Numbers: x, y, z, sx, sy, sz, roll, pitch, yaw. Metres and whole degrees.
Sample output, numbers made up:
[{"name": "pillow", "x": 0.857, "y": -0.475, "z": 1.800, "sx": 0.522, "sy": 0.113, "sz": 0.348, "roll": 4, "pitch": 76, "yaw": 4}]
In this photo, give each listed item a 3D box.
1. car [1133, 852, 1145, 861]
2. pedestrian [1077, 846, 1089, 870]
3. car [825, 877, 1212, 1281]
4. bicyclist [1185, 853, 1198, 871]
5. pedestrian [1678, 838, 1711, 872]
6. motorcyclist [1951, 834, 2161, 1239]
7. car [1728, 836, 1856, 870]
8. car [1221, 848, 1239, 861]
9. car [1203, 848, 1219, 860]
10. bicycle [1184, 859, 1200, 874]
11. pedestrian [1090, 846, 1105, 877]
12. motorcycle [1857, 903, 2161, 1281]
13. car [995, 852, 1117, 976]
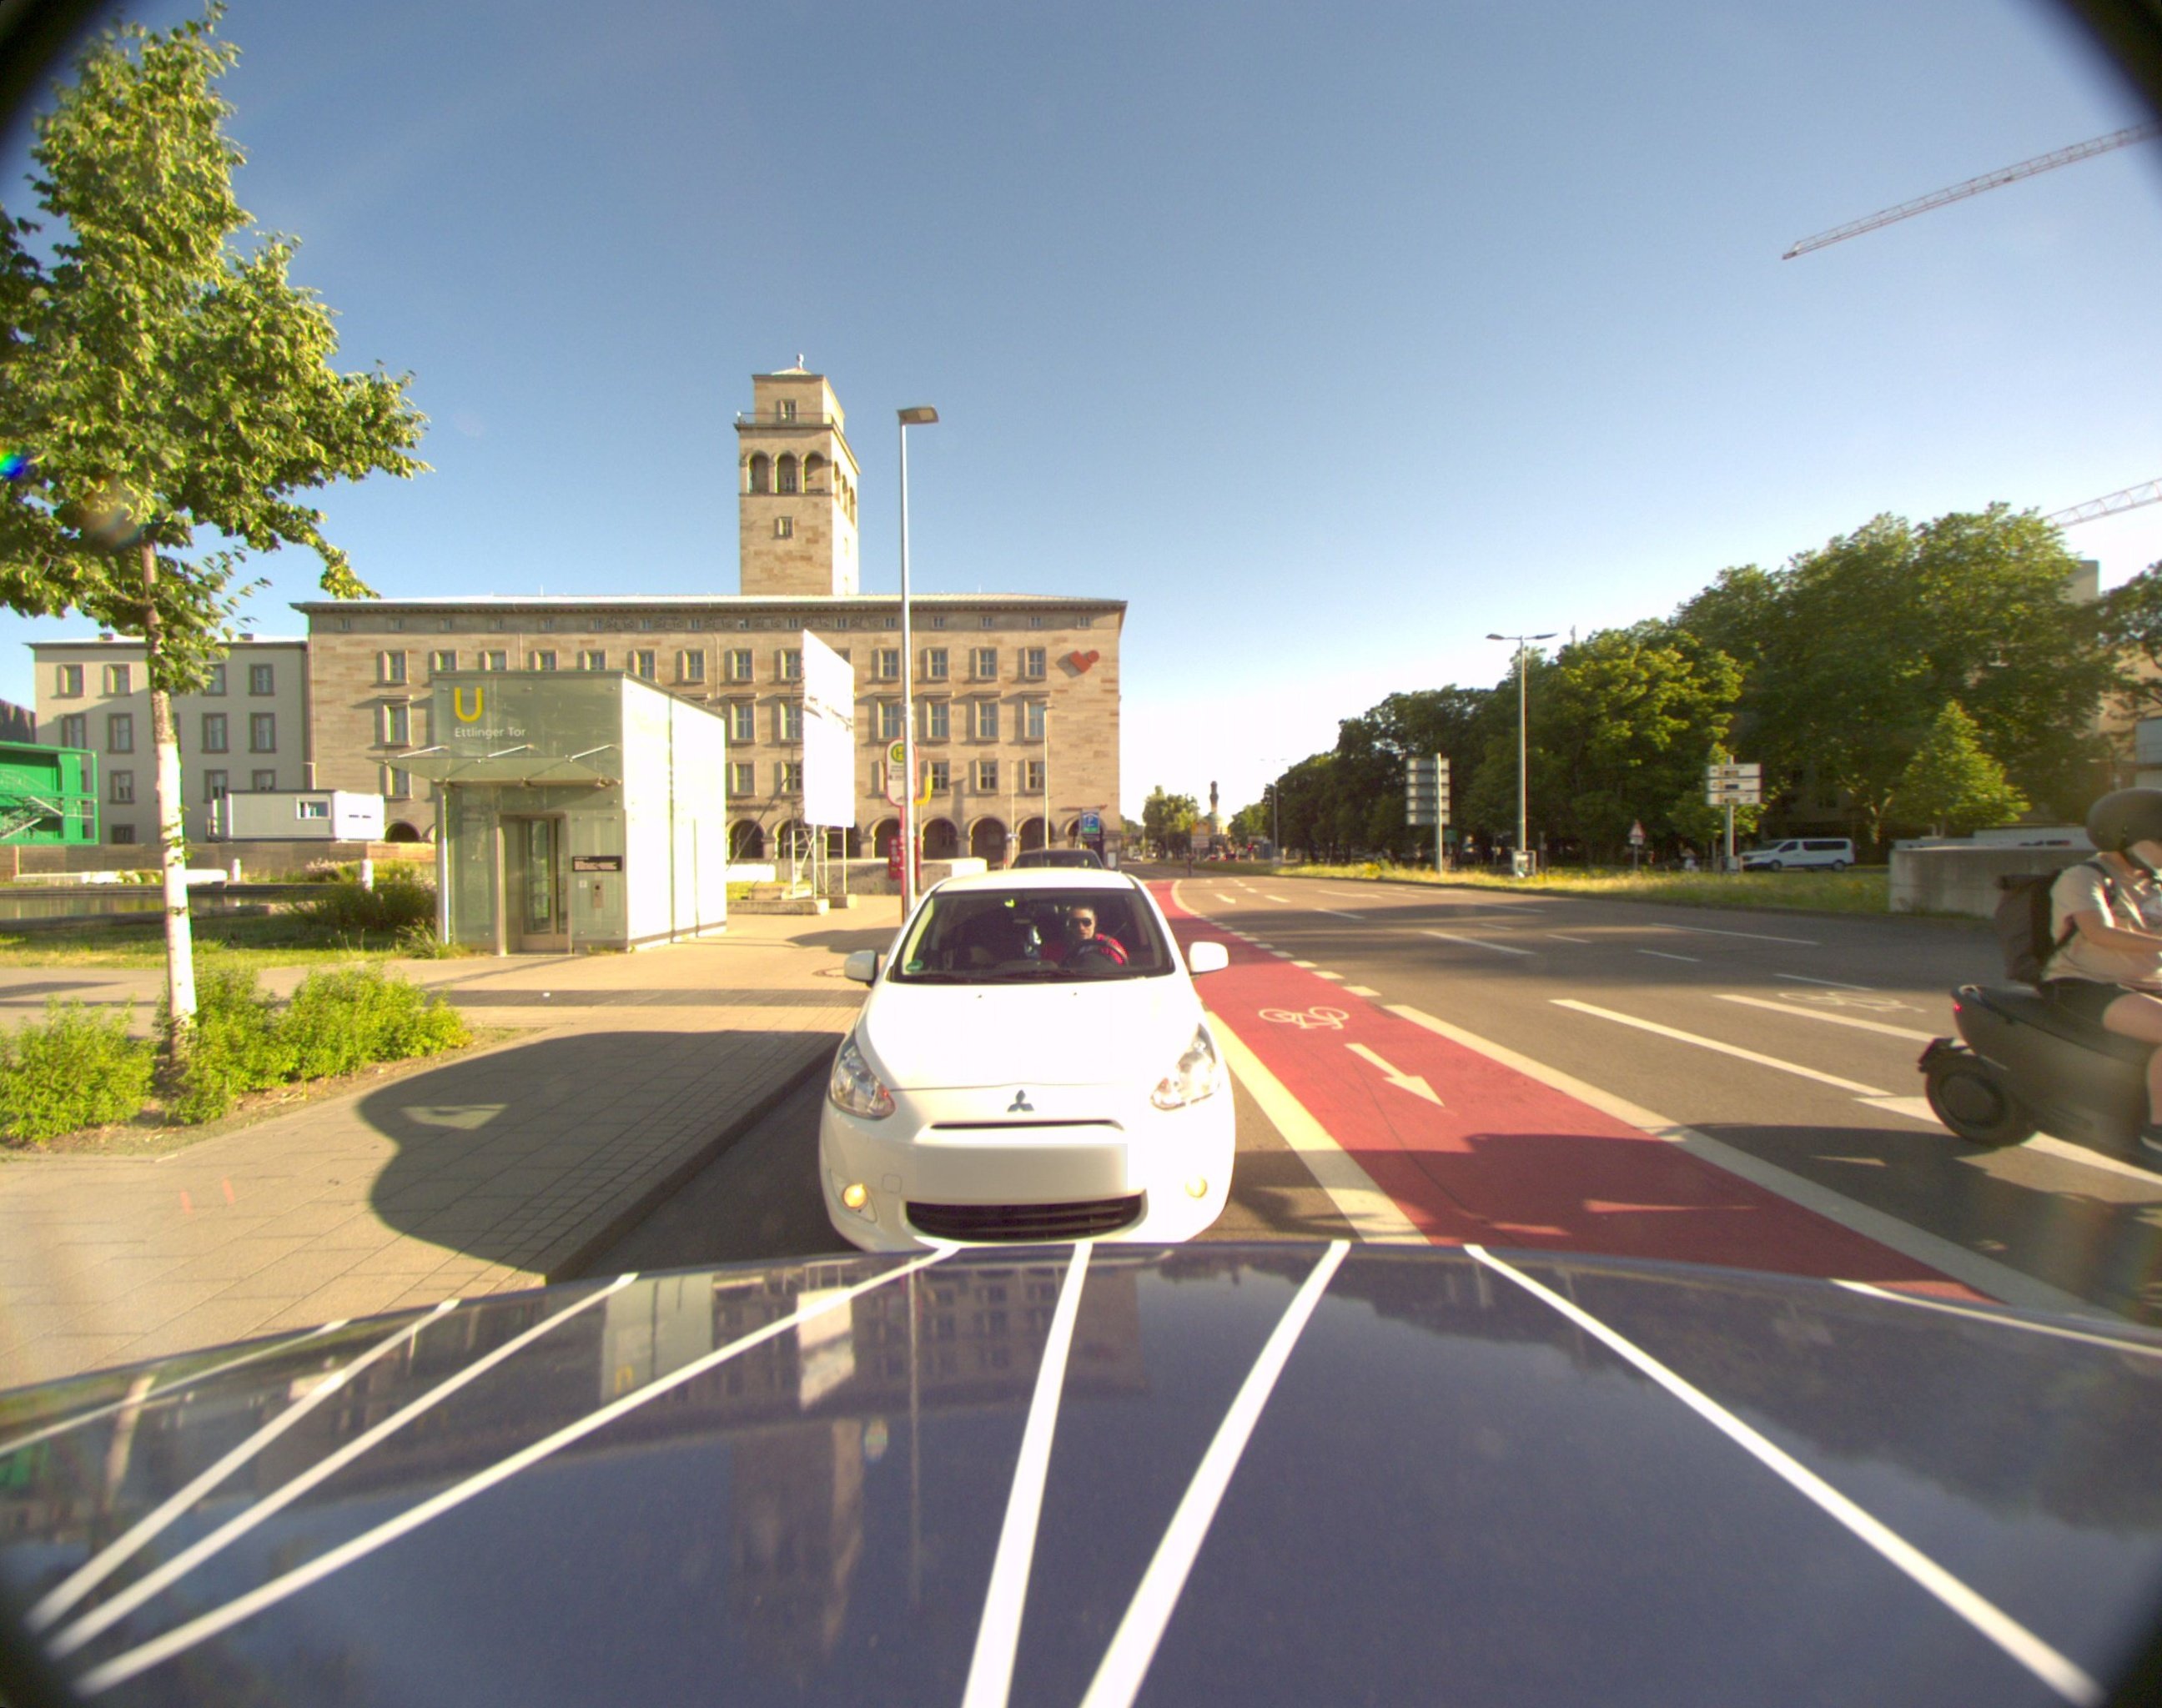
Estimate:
[{"name": "car", "x": 11.876, "y": 0.456, "z": 156.438, "sx": 1.877, "sy": 1.827, "sz": 4.584, "roll": -2, "pitch": 1, "yaw": -3}, {"name": "pedestrian", "x": 0.202, "y": 0.435, "z": 81.691, "sx": 1.122, "sy": 2.524, "sz": 1.055, "roll": -2, "pitch": 1, "yaw": 1}, {"name": "car", "x": -0.226, "y": 0.959, "z": 4.850, "sx": 1.496, "sy": 1.477, "sz": 3.604, "roll": -2, "pitch": 0, "yaw": 1}, {"name": "bicyclist", "x": 8.452, "y": 0.626, "z": 58.074, "sx": 0.854, "sy": 1.340, "sz": 0.829, "roll": -2, "pitch": 1, "yaw": 1}, {"name": "pedestrian", "x": 33.906, "y": 0.043, "z": 42.001, "sx": 0.989, "sy": 1.821, "sz": 1.019, "roll": -2, "pitch": 1, "yaw": -3}, {"name": "motorcyclist", "x": 4.284, "y": 0.660, "z": 2.950, "sx": 0.727, "sy": 1.466, "sz": 0.917, "roll": -2, "pitch": 0, "yaw": 1}, {"name": "car", "x": 42.137, "y": -0.090, "z": 45.124, "sx": 5.516, "sy": 1.924, "sz": 2.065, "roll": -1, "pitch": 1, "yaw": 2}, {"name": "car", "x": 21.589, "y": 0.045, "z": 110.175, "sx": 1.819, "sy": 1.817, "sz": 3.999, "roll": -2, "pitch": 1, "yaw": 1}, {"name": "car", "x": 20.583, "y": 0.034, "z": 120.452, "sx": 1.747, "sy": 1.778, "sz": 3.947, "roll": -2, "pitch": 1, "yaw": 1}, {"name": "bicycle", "x": 8.463, "y": 0.942, "z": 58.036, "sx": 0.854, "sy": 1.109, "sz": 2.808, "roll": -2, "pitch": 0, "yaw": 1}, {"name": "pedestrian", "x": 1.383, "y": 0.606, "z": 63.682, "sx": 1.122, "sy": 2.524, "sz": 1.055, "roll": -2, "pitch": 1, "yaw": 1}, {"name": "motorcycle", "x": 4.291, "y": 0.904, "z": 2.897, "sx": 0.724, "sy": 1.286, "sz": 1.884, "roll": -2, "pitch": 0, "yaw": 1}, {"name": "car", "x": -0.366, "y": 0.840, "z": 12.530, "sx": 1.642, "sy": 1.653, "sz": 3.849, "roll": -2, "pitch": 0, "yaw": -1}]
